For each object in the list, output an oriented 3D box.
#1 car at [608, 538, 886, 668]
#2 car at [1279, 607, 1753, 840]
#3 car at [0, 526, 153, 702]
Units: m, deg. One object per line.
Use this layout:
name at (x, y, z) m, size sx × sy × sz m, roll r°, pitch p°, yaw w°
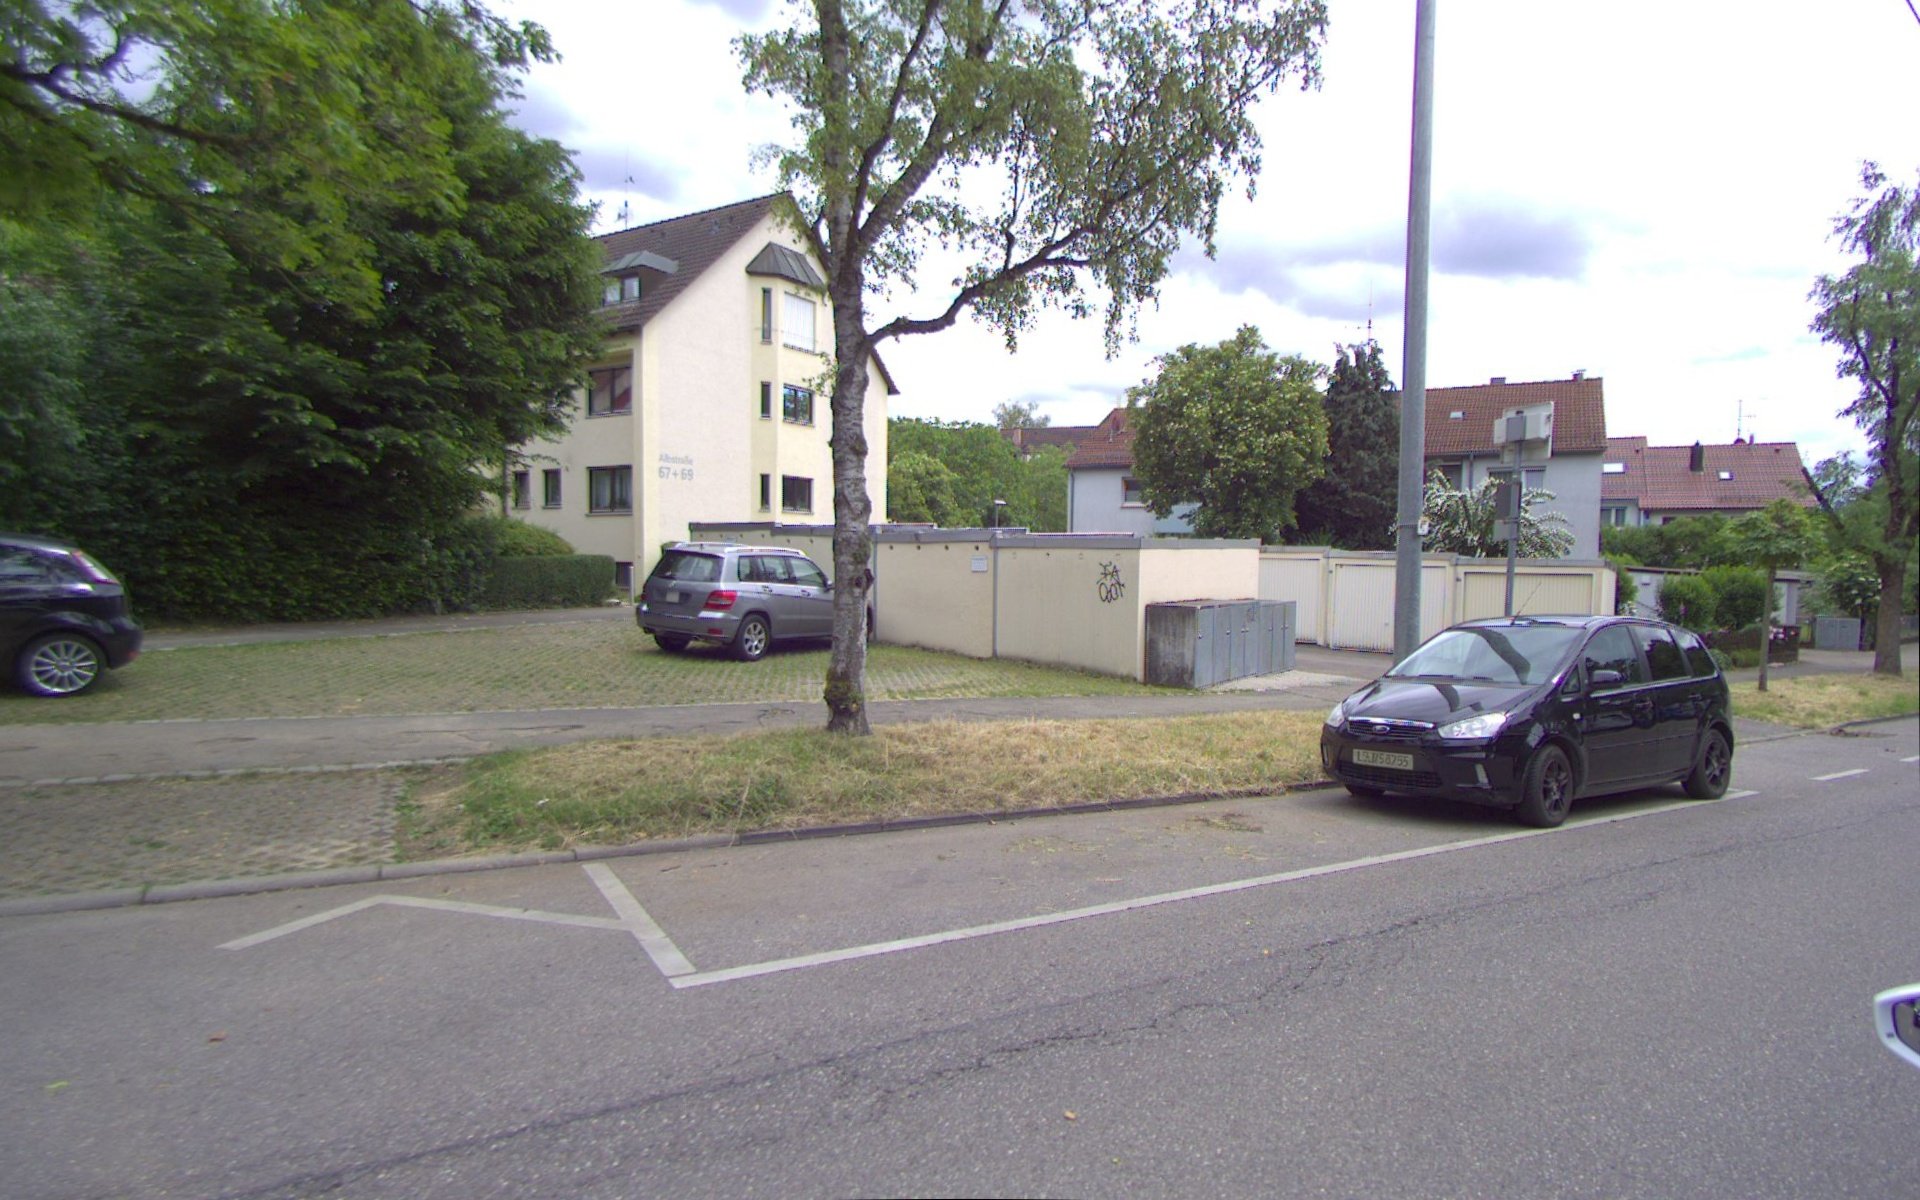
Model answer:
car at (-3.257, -0.042, 16.271) m, size 1.964 × 1.672 × 4.395 m, roll 6°, pitch 4°, yaw 29°
car at (4.910, 0.910, 8.726) m, size 4.219 × 1.583 × 1.795 m, roll 2°, pitch -2°, yaw -32°
car at (-9.836, 0.074, 8.917) m, size 1.754 × 1.497 × 3.967 m, roll 8°, pitch 5°, yaw 43°
